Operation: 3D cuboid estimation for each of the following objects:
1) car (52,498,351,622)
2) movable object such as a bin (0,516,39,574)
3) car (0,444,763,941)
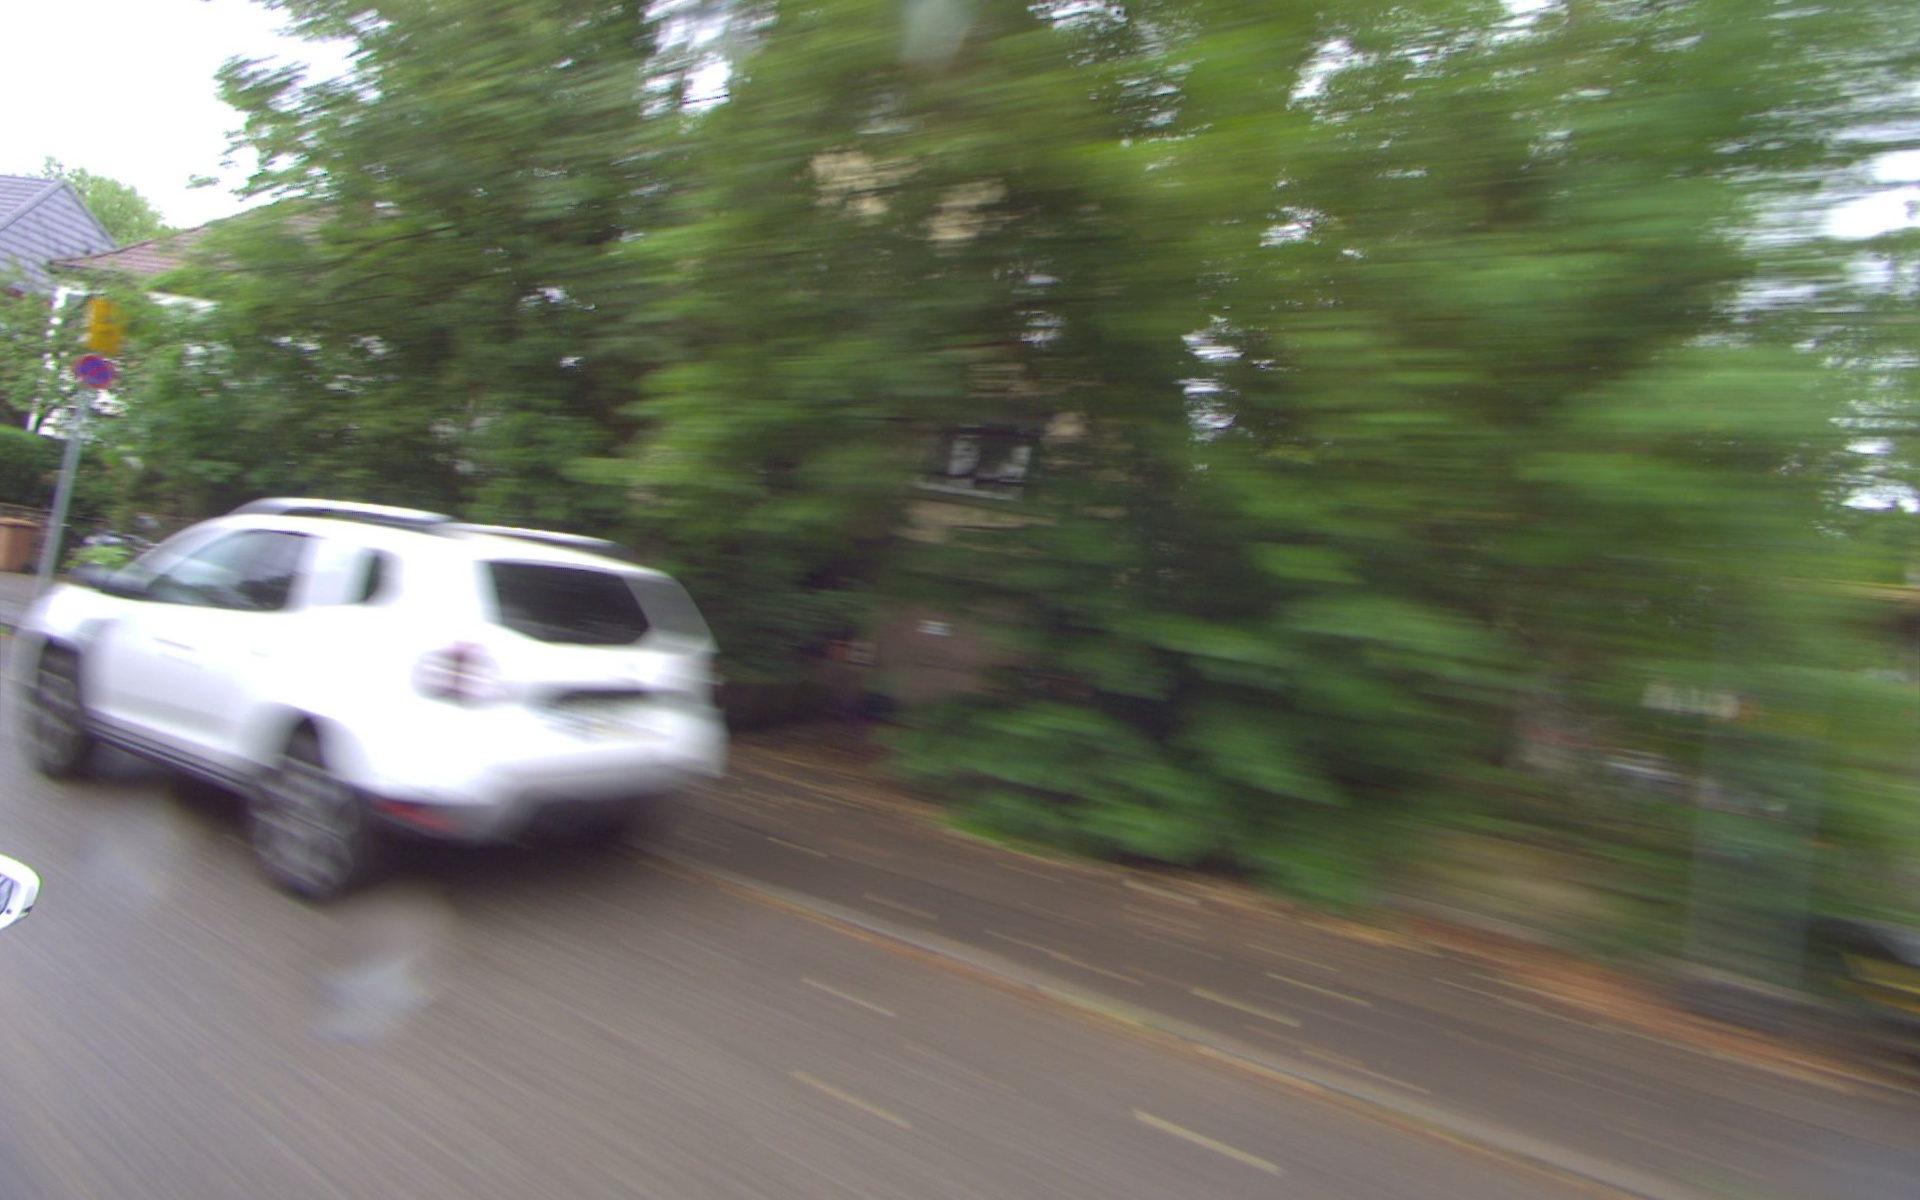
[{"bbox_3d":[-13.719,-0.638,18.529,1.739,1.512,4.008,9,-3,16],"label":"car"},{"bbox_3d":[-16.732,-0.971,17.777,0.454,0.931,0.420,8,-1,21],"label":"movable object such as a bin"},{"bbox_3d":[-3.460,0.246,5.592,4.425,1.726,1.748,7,-1,30],"label":"car"}]
